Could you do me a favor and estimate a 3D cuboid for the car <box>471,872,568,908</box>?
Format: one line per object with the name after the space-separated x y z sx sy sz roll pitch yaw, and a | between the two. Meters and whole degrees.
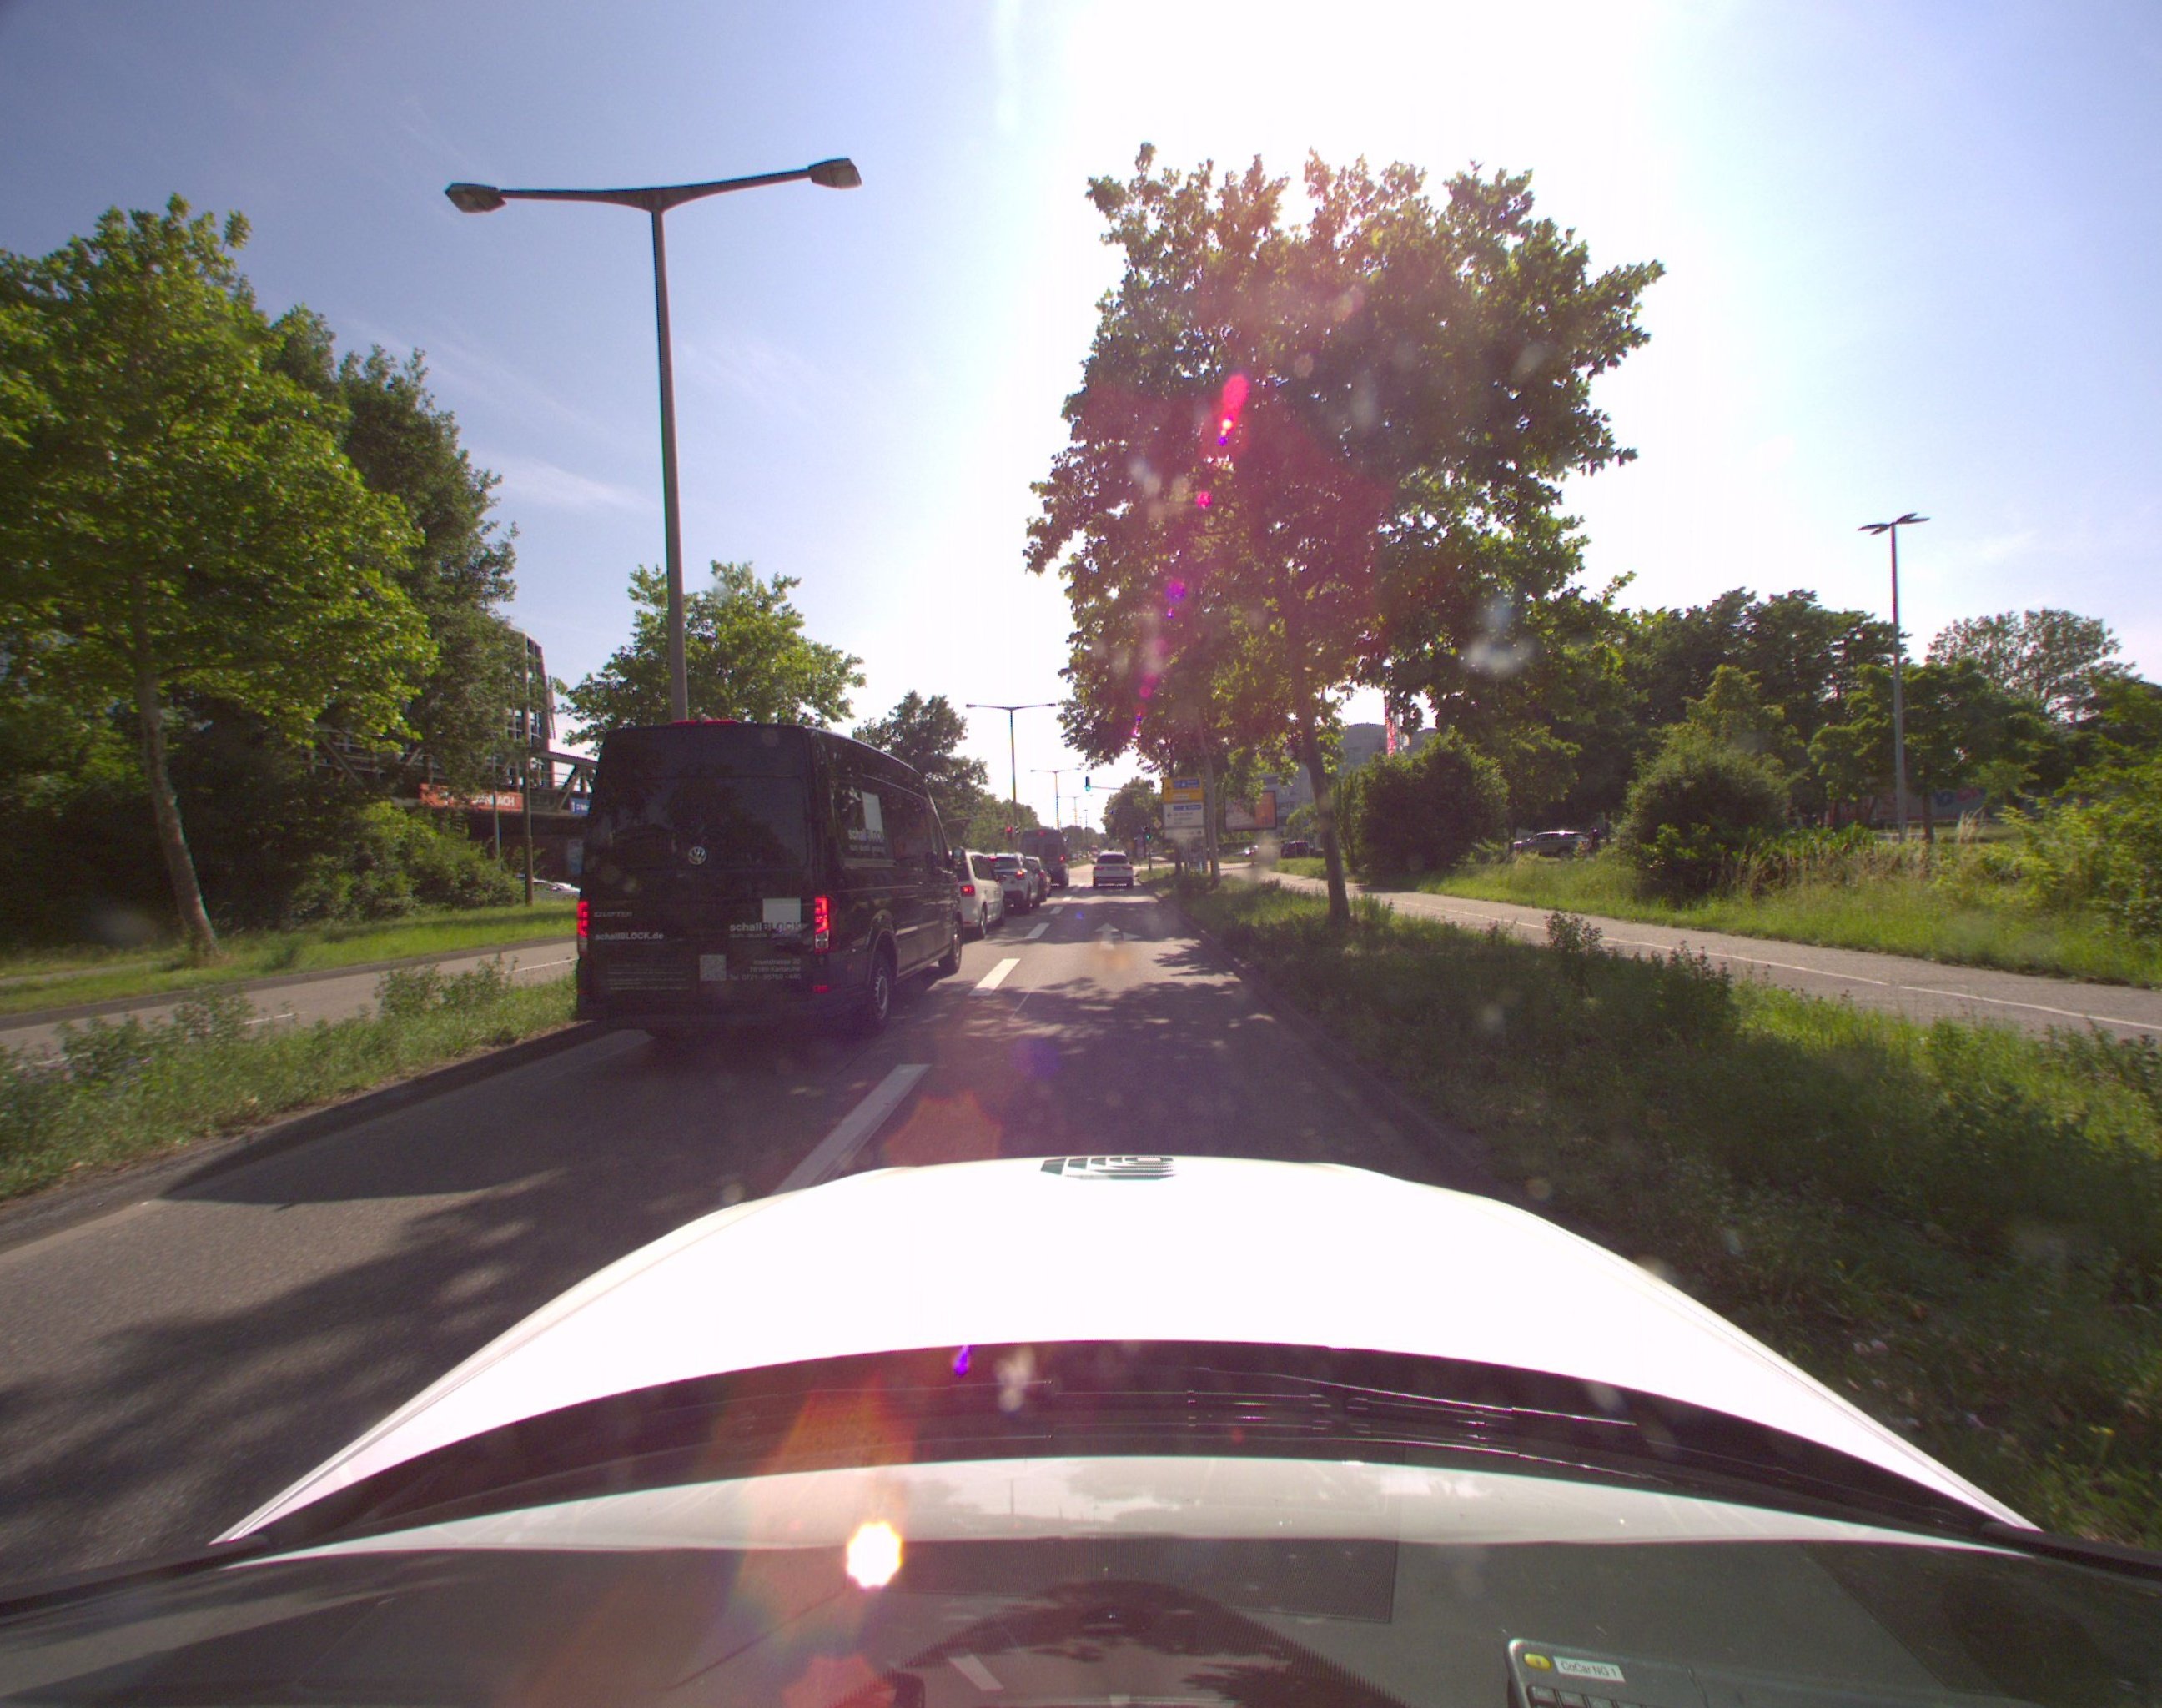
-30.487 1.932 44.373 4.144 1.732 1.864 -2 0 -31 | car

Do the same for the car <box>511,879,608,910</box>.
-26.374 2.021 41.370 4.013 1.345 1.864 -2 0 -31 | car

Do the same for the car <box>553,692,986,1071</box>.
-2.540 0.216 8.754 2.008 2.607 6.172 -1 -1 2 | car

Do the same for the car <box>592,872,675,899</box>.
-27.514 1.932 50.092 4.347 1.426 1.471 -2 0 -33 | car

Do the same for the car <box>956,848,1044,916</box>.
-2.107 0.699 22.159 1.764 1.647 4.087 -1 -1 3 | car

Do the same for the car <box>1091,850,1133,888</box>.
1.470 0.637 37.542 1.846 1.607 4.004 -1 0 3 | car

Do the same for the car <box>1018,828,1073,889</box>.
-1.591 0.196 38.140 2.073 2.656 4.877 -1 -1 3 | car

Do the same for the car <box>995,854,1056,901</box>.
-1.841 0.744 28.063 1.685 1.505 3.888 0 0 2 | car

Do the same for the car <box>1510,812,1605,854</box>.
24.566 -1.066 42.098 2.011 2.013 3.750 -2 0 -41 | car

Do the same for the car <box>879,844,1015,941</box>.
-2.504 0.681 16.254 1.764 1.647 4.355 -1 -1 3 | car
